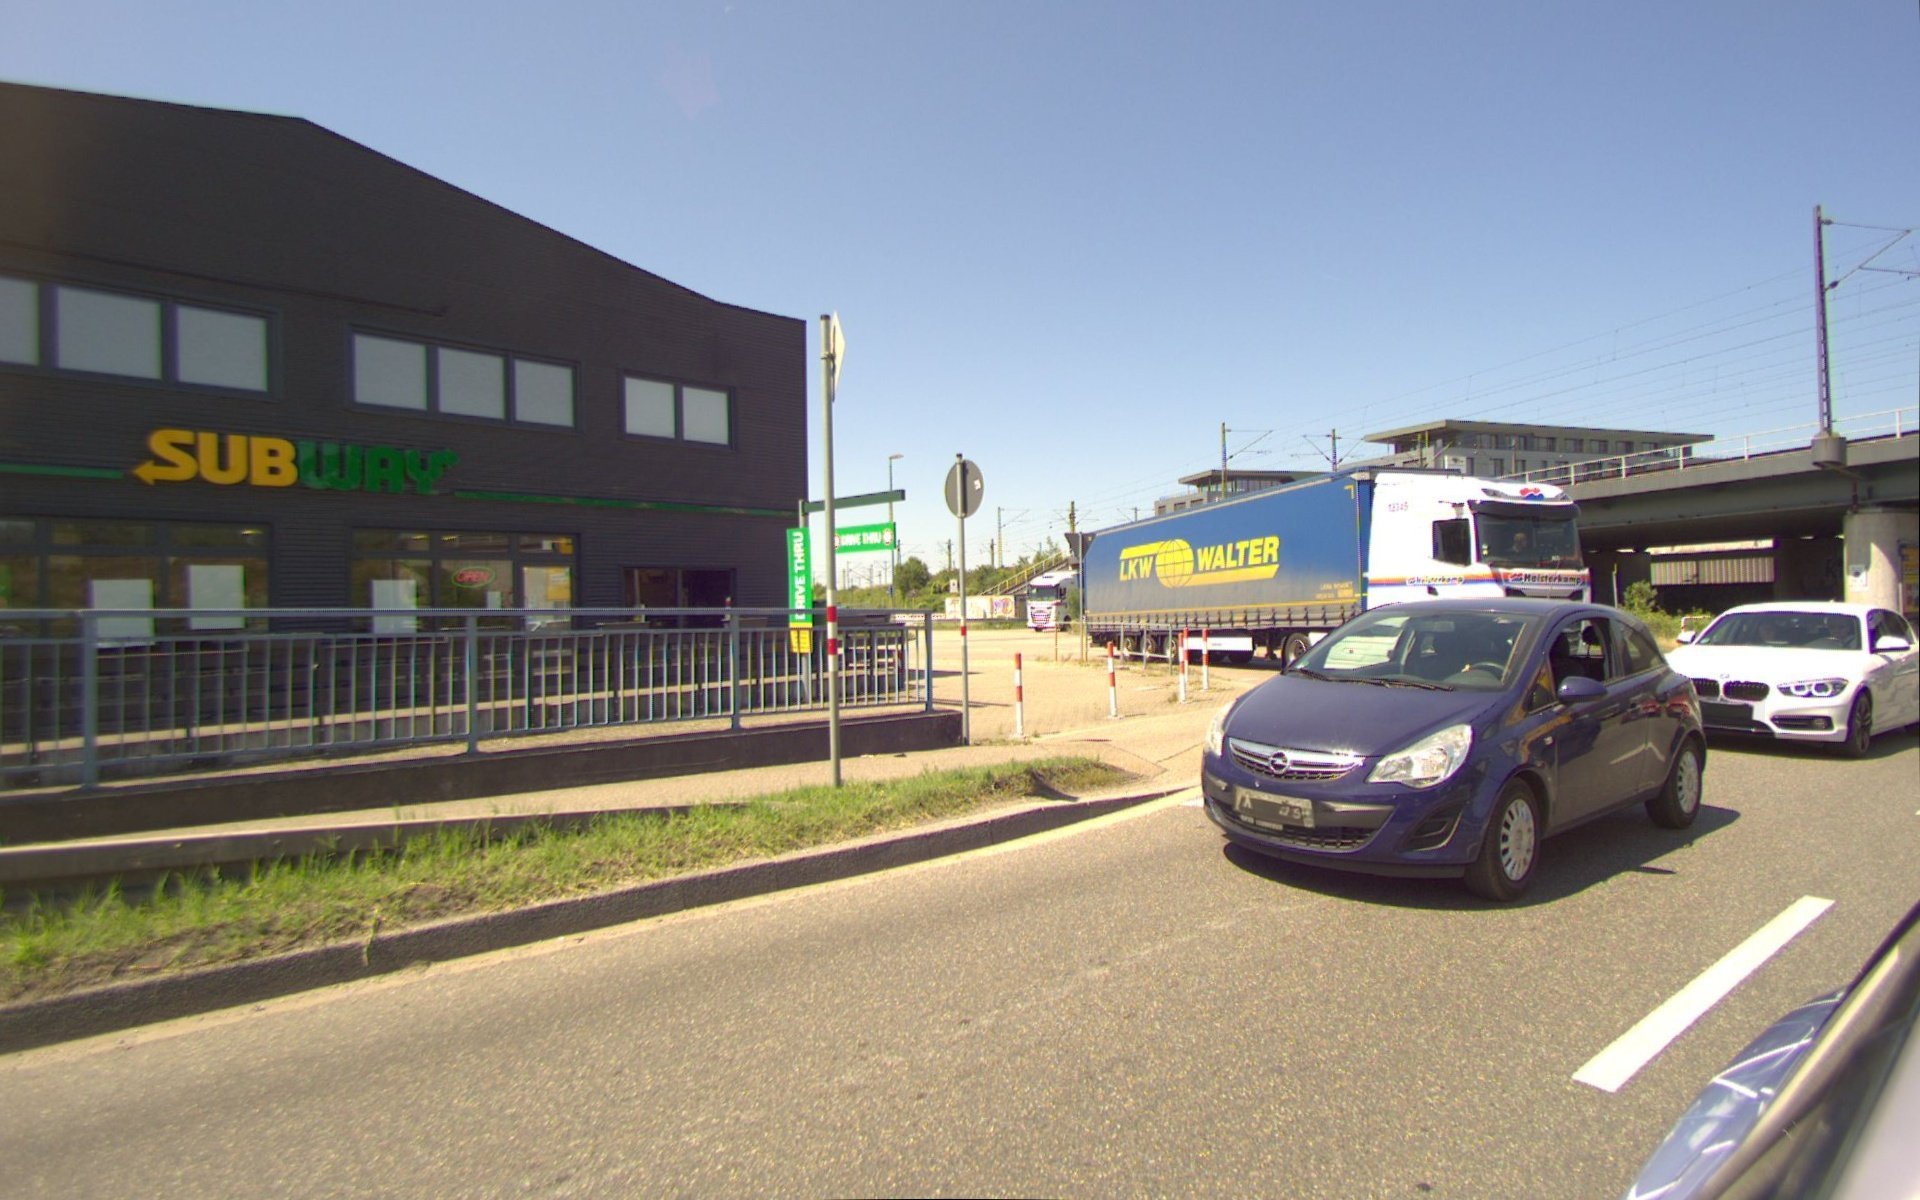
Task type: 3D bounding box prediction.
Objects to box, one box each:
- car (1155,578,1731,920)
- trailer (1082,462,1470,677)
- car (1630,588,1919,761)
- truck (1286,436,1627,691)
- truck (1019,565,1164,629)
[{"bbox_3d":[3.094,0.647,6.174,3.819,1.462,1.650,0,0,-38],"label":"car"},{"bbox_3d":[7.065,-0.524,26.574,2.447,4.142,13.931,0,-1,-16],"label":"trailer"},{"bbox_3d":[8.883,0.635,10.632,3.976,1.461,1.764,0,2,-36],"label":"car"},{"bbox_3d":[9.255,-0.626,19.649,2.522,4.153,5.774,0,0,-20],"label":"truck"},{"bbox_3d":[10.027,-0.301,73.734,2.736,4.155,17.219,0,0,35],"label":"truck"}]
